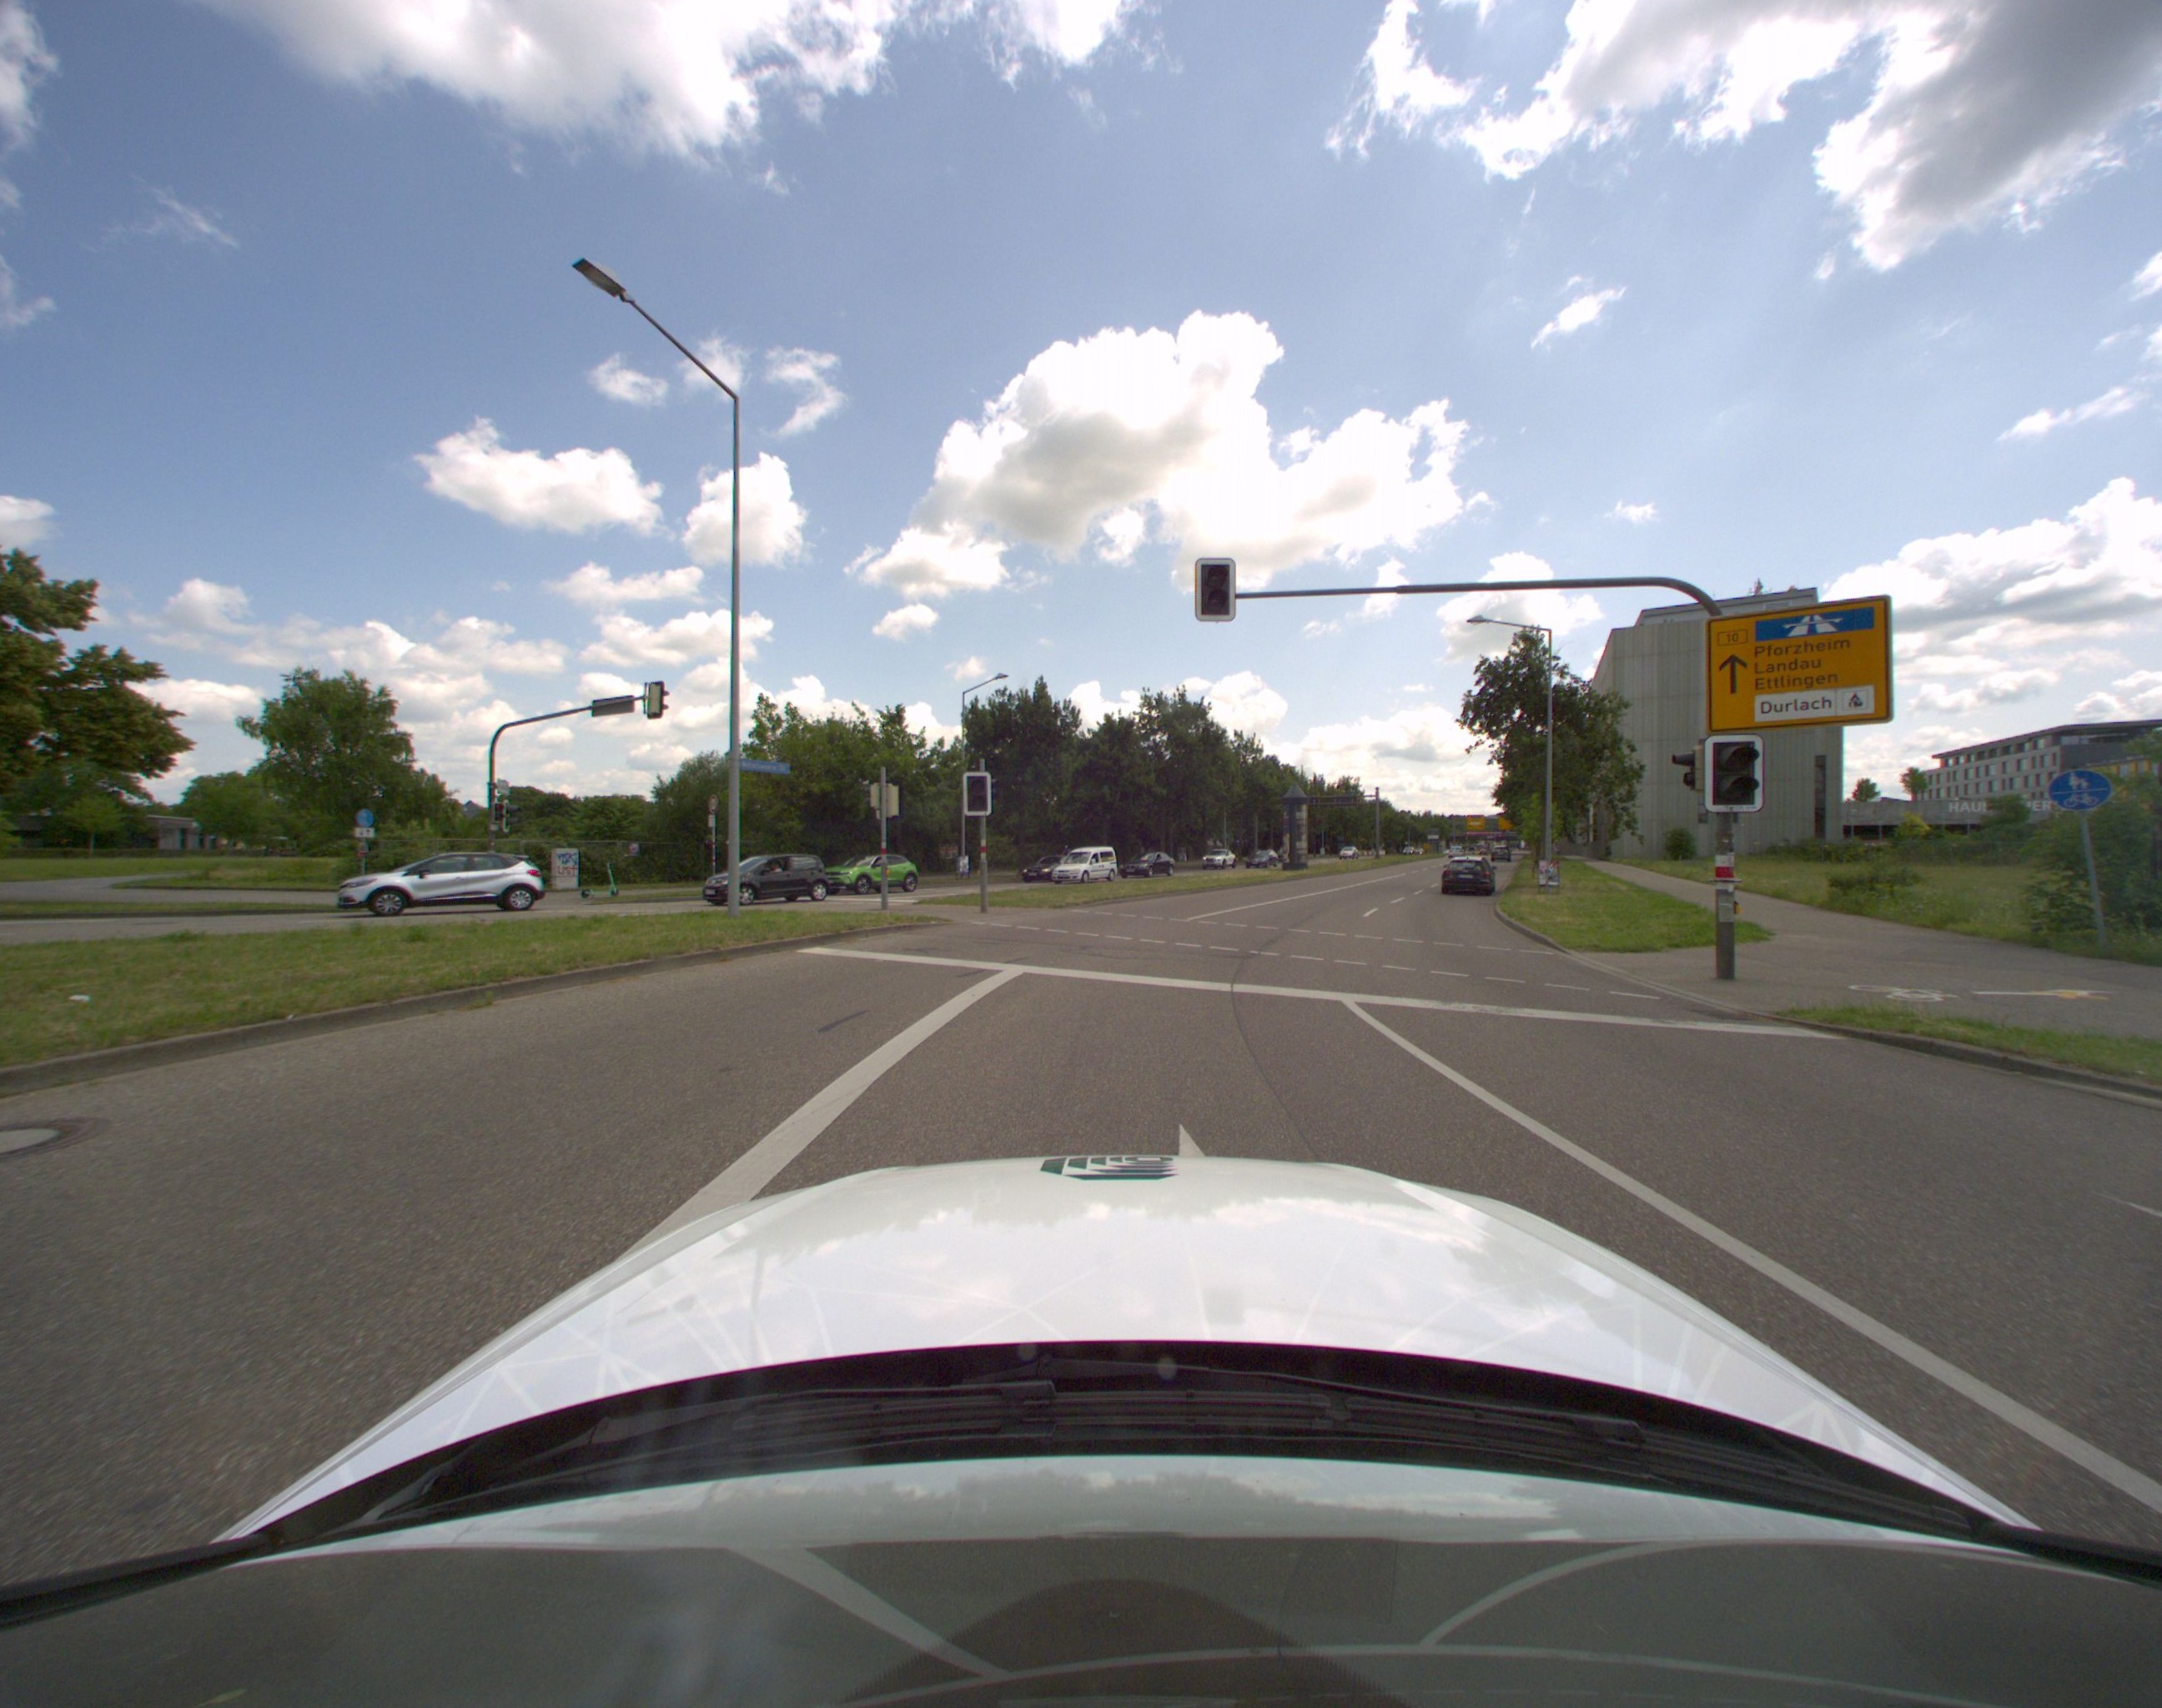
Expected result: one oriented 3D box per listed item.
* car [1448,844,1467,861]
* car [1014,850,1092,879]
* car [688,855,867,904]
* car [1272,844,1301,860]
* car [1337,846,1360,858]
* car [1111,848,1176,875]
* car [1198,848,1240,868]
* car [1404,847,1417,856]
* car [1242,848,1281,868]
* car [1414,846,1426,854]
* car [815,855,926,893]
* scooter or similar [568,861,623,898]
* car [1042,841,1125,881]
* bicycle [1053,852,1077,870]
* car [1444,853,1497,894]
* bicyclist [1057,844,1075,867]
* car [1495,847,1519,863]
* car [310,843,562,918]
[{"bbox_3d":[46.373,-0.195,100.291,1.975,2.013,4.024,2,1,26],"label":"car"},{"bbox_3d":[-1.424,0.547,42.861,1.820,1.443,4.447,-2,-1,33],"label":"car"},{"bbox_3d":[-9.001,0.712,24.549,1.820,1.310,4.818,-2,-1,37],"label":"car"},{"bbox_3d":[21.317,-0.247,84.431,1.746,1.577,5.062,-1,0,28],"label":"car"},{"bbox_3d":[31.509,-0.256,95.895,1.746,1.440,4.336,-1,0,29],"label":"car"},{"bbox_3d":[3.645,0.411,46.729,1.820,1.480,4.782,-2,-1,29],"label":"car"},{"bbox_3d":[11.004,0.327,64.669,1.892,1.541,4.395,-1,0,29],"label":"car"},{"bbox_3d":[59.505,-0.494,146.882,1.725,1.569,4.301,-1,0,28],"label":"car"},{"bbox_3d":[14.697,0.287,66.042,1.706,1.591,5.044,-1,0,29],"label":"car"},{"bbox_3d":[68.929,-0.736,165.625,1.725,1.545,4.602,-1,0,30],"label":"car"},{"bbox_3d":[-7.944,0.733,31.094,1.600,1.348,4.196,-2,-1,30],"label":"car"},{"bbox_3d":[-15.884,0.823,26.680,0.535,1.166,1.449,1,1,33],"label":"scooter or similar"},{"bbox_3d":[0.201,0.315,39.555,1.820,1.799,4.817,-2,-1,30],"label":"car"},{"bbox_3d":[-1.100,0.462,57.284,0.754,1.219,2.029,3,1,29],"label":"bicycle"},{"bbox_3d":[15.353,0.709,32.028,1.668,1.463,4.024,2,1,28],"label":"car"},{"bbox_3d":[-1.051,0.099,57.355,0.822,1.564,0.889,3,1,29],"label":"bicyclist"},{"bbox_3d":[44.665,0.060,85.294,1.974,1.626,4.336,1,1,31],"label":"car"},{"bbox_3d":[-16.364,0.578,20.892,1.975,1.686,4.817,1,1,42],"label":"car"}]
